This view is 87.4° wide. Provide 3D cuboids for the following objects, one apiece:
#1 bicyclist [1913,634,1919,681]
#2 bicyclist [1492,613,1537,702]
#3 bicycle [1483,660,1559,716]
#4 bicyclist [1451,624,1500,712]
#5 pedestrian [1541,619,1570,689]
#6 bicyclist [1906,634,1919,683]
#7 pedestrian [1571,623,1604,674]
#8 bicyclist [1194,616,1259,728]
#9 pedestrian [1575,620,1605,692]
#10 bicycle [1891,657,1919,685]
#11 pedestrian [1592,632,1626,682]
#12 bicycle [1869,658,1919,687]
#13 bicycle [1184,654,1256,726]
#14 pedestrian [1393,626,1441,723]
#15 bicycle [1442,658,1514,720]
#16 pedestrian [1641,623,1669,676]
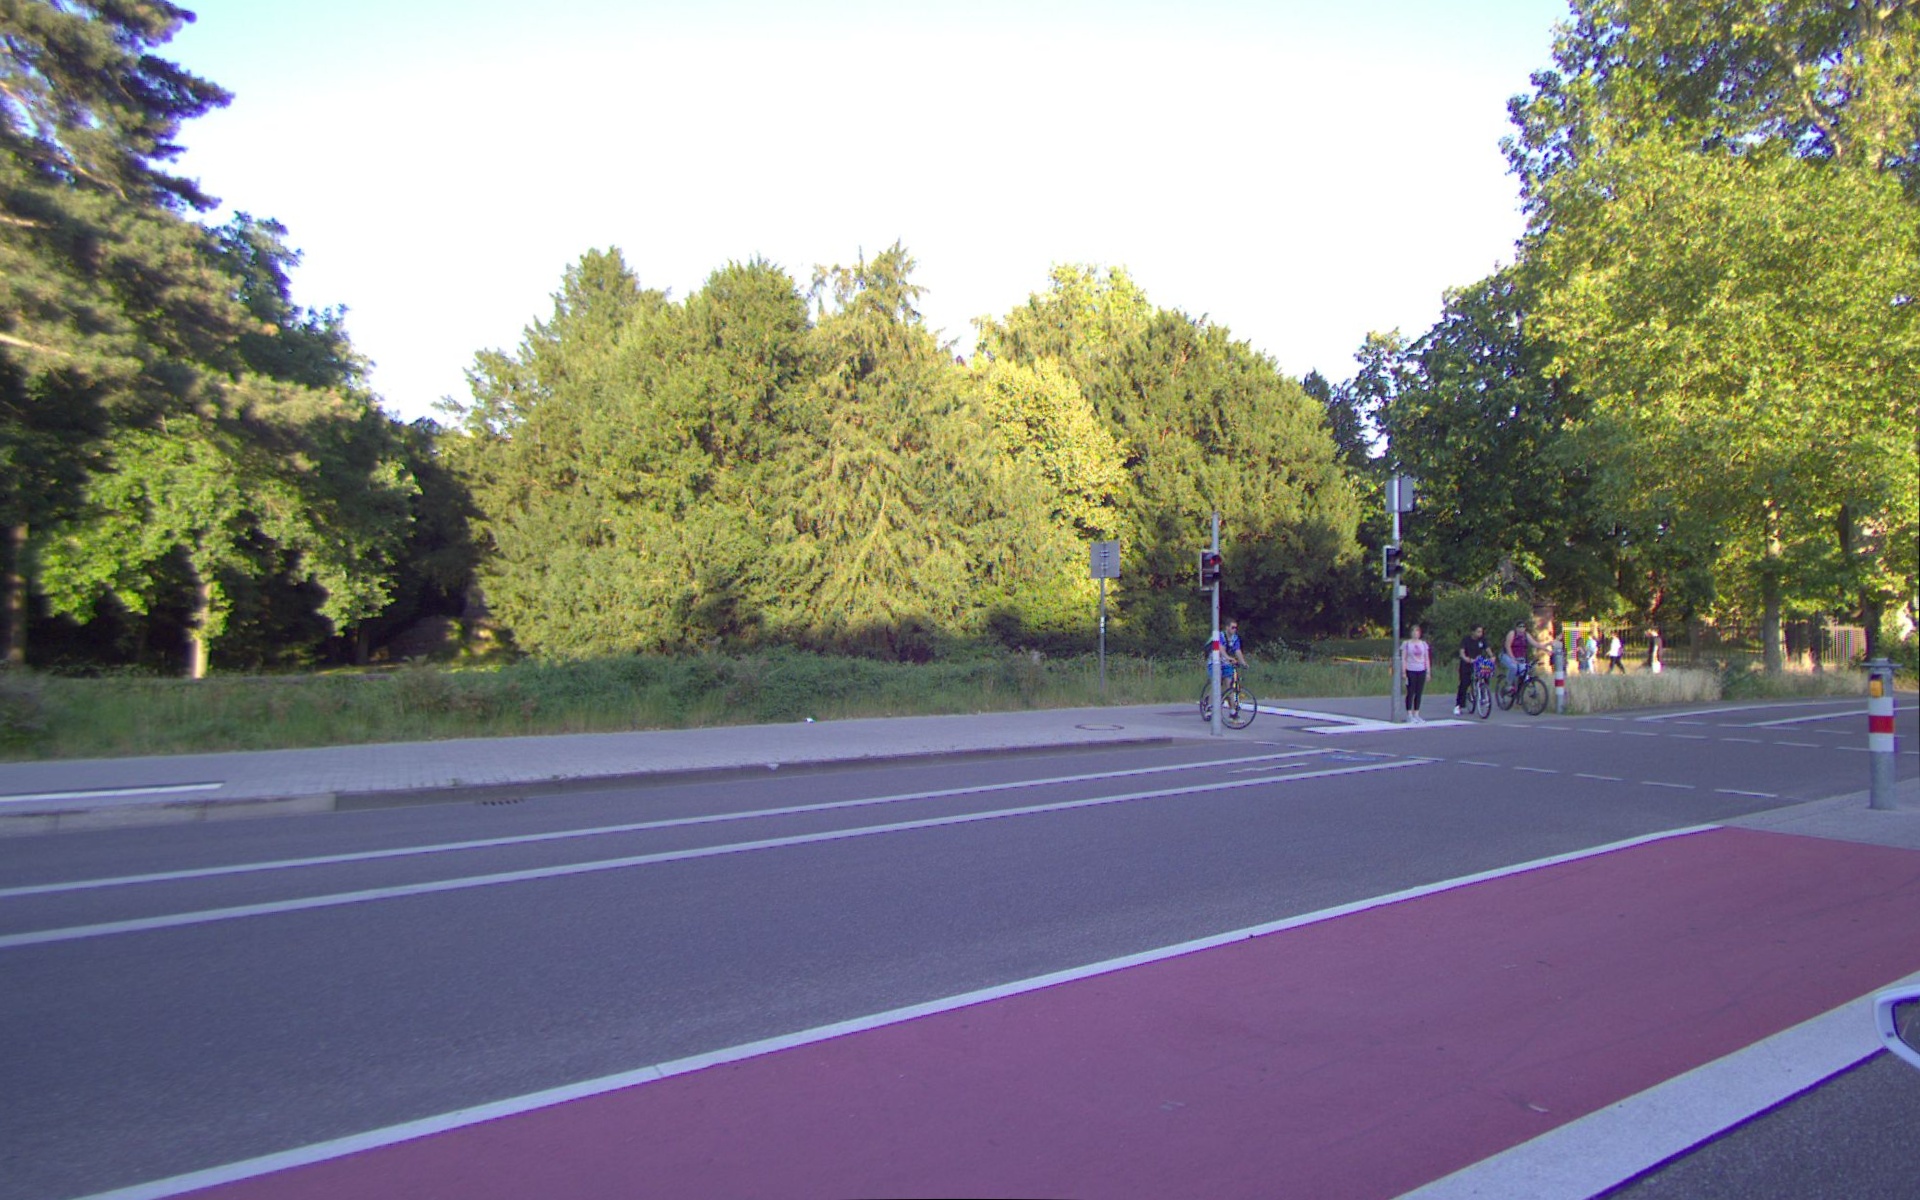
[{"bbox_3d":[33.981,2.000,34.992,0.743,1.652,0.954,1,-2,-29],"label":"bicyclist"},{"bbox_3d":[11.366,1.173,20.601,0.564,1.804,0.640,0,-1,1],"label":"bicyclist"},{"bbox_3d":[11.362,1.761,20.401,0.568,1.043,1.772,0,-2,1],"label":"bicycle"},{"bbox_3d":[10.039,1.313,19.567,0.618,1.671,0.640,0,-1,1],"label":"bicyclist"},{"bbox_3d":[17.586,1.579,29.675,0.638,2.040,0.606,1,0,22],"label":"pedestrian"},{"bbox_3d":[32.718,1.965,33.897,0.743,1.652,0.954,1,-2,-29],"label":"bicyclist"},{"bbox_3d":[25.705,1.969,41.140,0.982,2.040,0.799,1,-1,-30],"label":"pedestrian"},{"bbox_3d":[4.594,1.225,17.334,0.729,1.848,0.705,2,0,-33],"label":"bicyclist"},{"bbox_3d":[18.139,1.589,28.919,0.584,2.040,0.642,1,0,20],"label":"pedestrian"},{"bbox_3d":[34.026,2.492,34.840,0.765,0.936,2.420,1,-2,-28],"label":"bicycle"},{"bbox_3d":[26.754,2.336,41.394,1.064,2.040,0.757,1,-1,-30],"label":"pedestrian"},{"bbox_3d":[32.595,2.466,34.120,0.765,0.936,2.420,1,-2,-28],"label":"bicycle"},{"bbox_3d":[4.420,1.510,17.251,0.757,1.115,2.123,0,-2,2],"label":"bicycle"},{"bbox_3d":[8.313,1.337,18.280,0.492,1.718,0.604,1,-2,-28],"label":"pedestrian"},{"bbox_3d":[10.037,1.703,19.516,0.620,1.126,1.569,0,-2,1],"label":"bicycle"},{"bbox_3d":[27.123,1.918,39.222,0.692,2.040,0.637,1,-2,-28],"label":"pedestrian"}]
